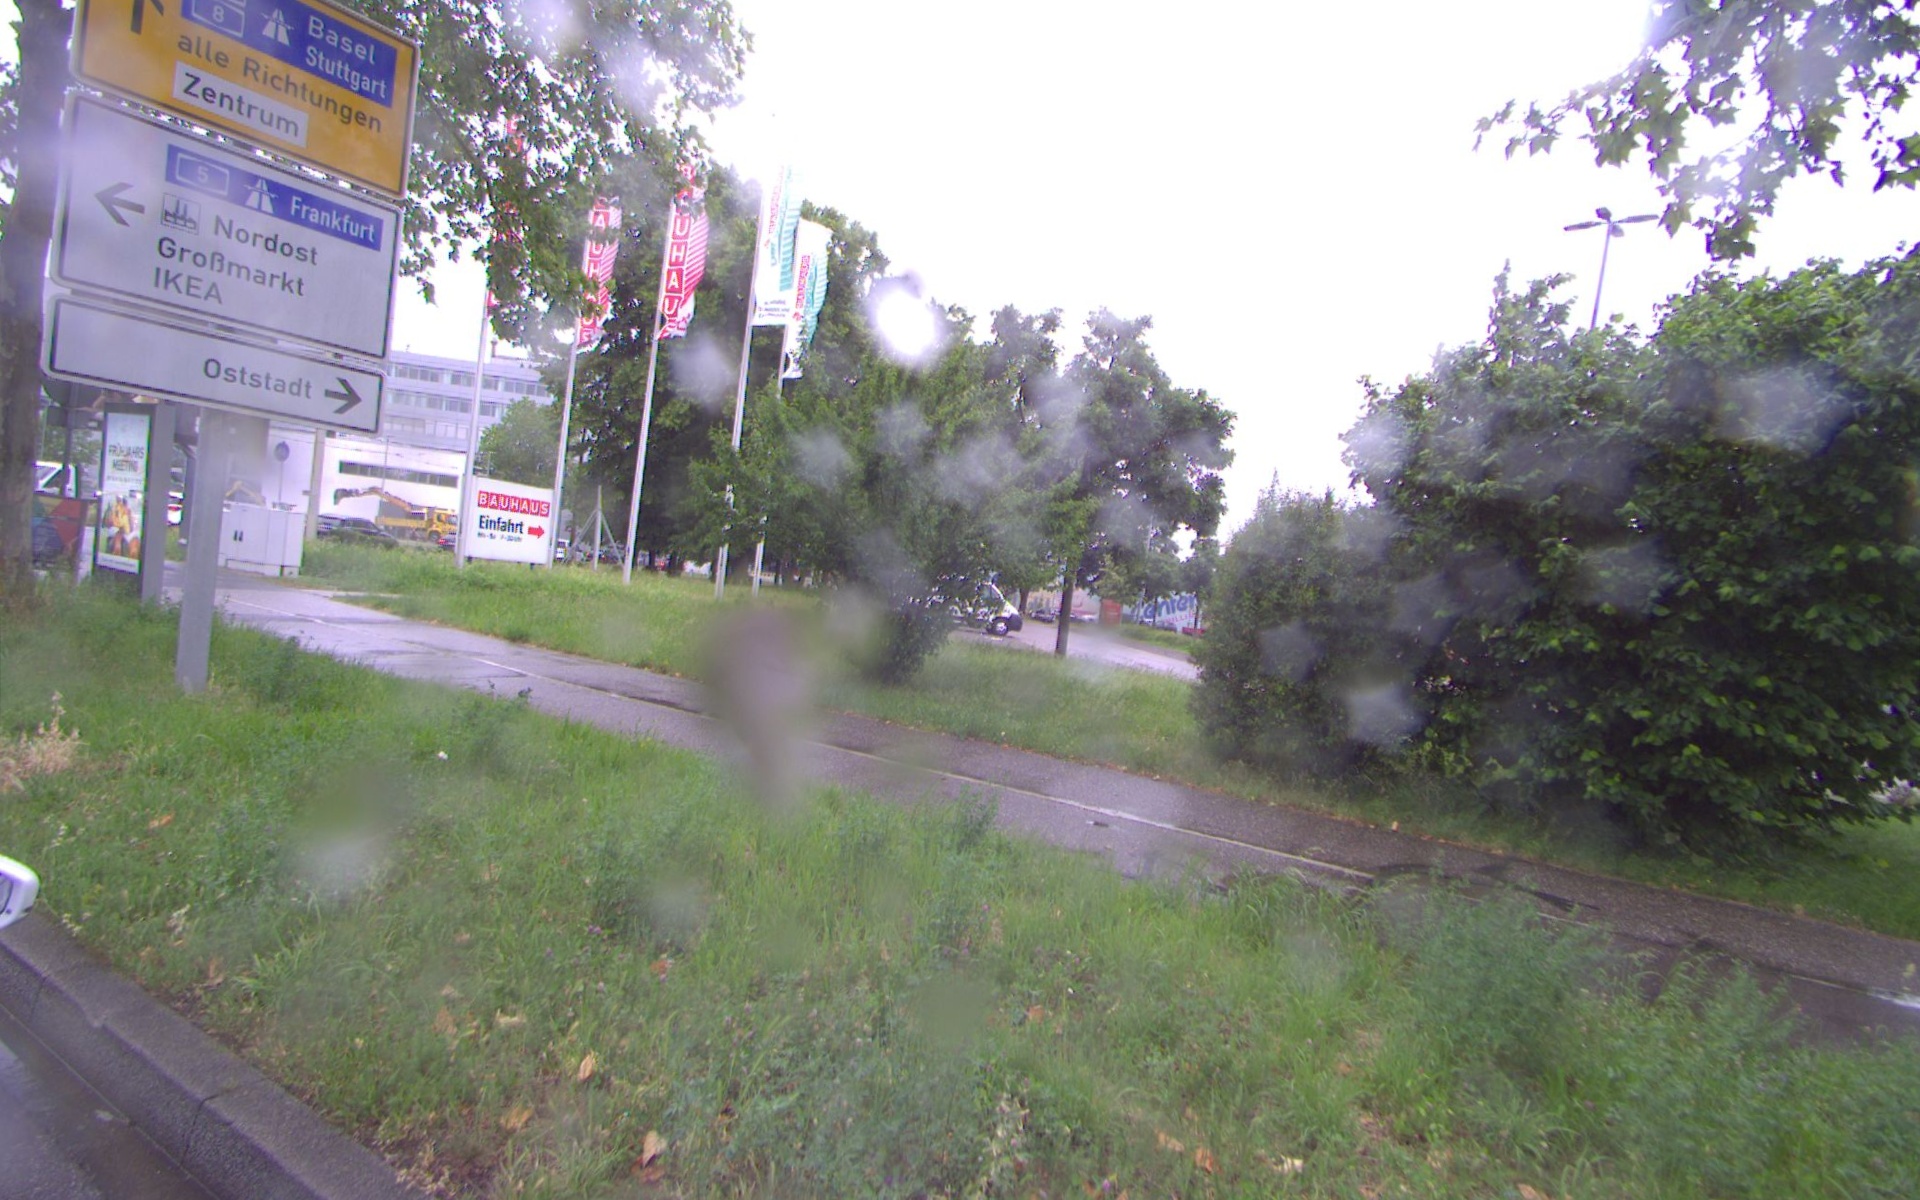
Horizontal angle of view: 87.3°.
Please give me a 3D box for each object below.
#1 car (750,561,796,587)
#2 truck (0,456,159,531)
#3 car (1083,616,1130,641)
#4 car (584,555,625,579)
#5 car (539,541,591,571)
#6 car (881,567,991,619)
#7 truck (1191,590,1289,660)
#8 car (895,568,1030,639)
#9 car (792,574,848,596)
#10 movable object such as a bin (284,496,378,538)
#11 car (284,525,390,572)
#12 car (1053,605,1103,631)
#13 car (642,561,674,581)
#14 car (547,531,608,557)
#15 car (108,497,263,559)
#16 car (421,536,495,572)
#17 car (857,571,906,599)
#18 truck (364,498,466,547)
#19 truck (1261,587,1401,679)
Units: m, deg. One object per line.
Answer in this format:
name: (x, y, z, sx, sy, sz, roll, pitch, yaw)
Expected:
car: (-18.847, -2.622, 101.514, 4.220, 2.075, 1.758, 8, 1, -16)
truck: (-38.058, -4.485, 42.919, 2.438, 2.394, 6.861, 7, 0, -4)
car: (15.584, 3.029, 107.417, 4.612, 2.038, 2.001, 7, 0, 3)
car: (-29.195, -2.701, 82.707, 1.892, 1.606, 4.623, 6, 0, -4)
car: (-27.400, -3.021, 69.904, 1.892, 1.606, 4.623, 6, 0, -4)
car: (-1.375, -0.416, 57.640, 5.955, 2.232, 2.190, 7, 1, -2)
truck: (16.528, 1.397, 60.293, 2.507, 3.511, 9.397, 8, 0, -2)
car: (0.041, 0.141, 40.915, 5.015, 2.232, 2.188, 7, 1, -9)
car: (-15.399, -1.607, 111.065, 5.853, 1.754, 2.276, 6, 1, -3)
movable object such as a bin: (-60.572, -7.944, 97.006, 6.601, 3.034, 3.324, 7, 1, -4)
car: (-27.193, -2.184, 44.096, 1.893, 1.606, 4.622, 6, 0, -4)
car: (11.911, 1.828, 101.748, 4.612, 2.038, 2.001, 7, 0, 3)
car: (-29.029, -2.745, 96.814, 1.892, 1.606, 4.623, 6, 0, -4)
car: (-37.179, -5.401, 97.864, 4.969, 1.674, 1.881, 8, -2, -4)
car: (-26.872, -2.428, 35.119, 1.892, 1.605, 4.623, 6, 0, -3)
car: (-27.847, -2.524, 56.007, 1.892, 1.606, 4.623, 6, 0, -4)
car: (-7.840, -1.465, 100.588, 4.670, 2.241, 1.964, 6, 1, -2)
truck: (-52.658, -7.458, 97.329, 7.747, 3.552, 3.325, 7, 1, -4)
truck: (16.738, 1.335, 46.135, 2.508, 3.513, 8.008, 8, 1, -4)
